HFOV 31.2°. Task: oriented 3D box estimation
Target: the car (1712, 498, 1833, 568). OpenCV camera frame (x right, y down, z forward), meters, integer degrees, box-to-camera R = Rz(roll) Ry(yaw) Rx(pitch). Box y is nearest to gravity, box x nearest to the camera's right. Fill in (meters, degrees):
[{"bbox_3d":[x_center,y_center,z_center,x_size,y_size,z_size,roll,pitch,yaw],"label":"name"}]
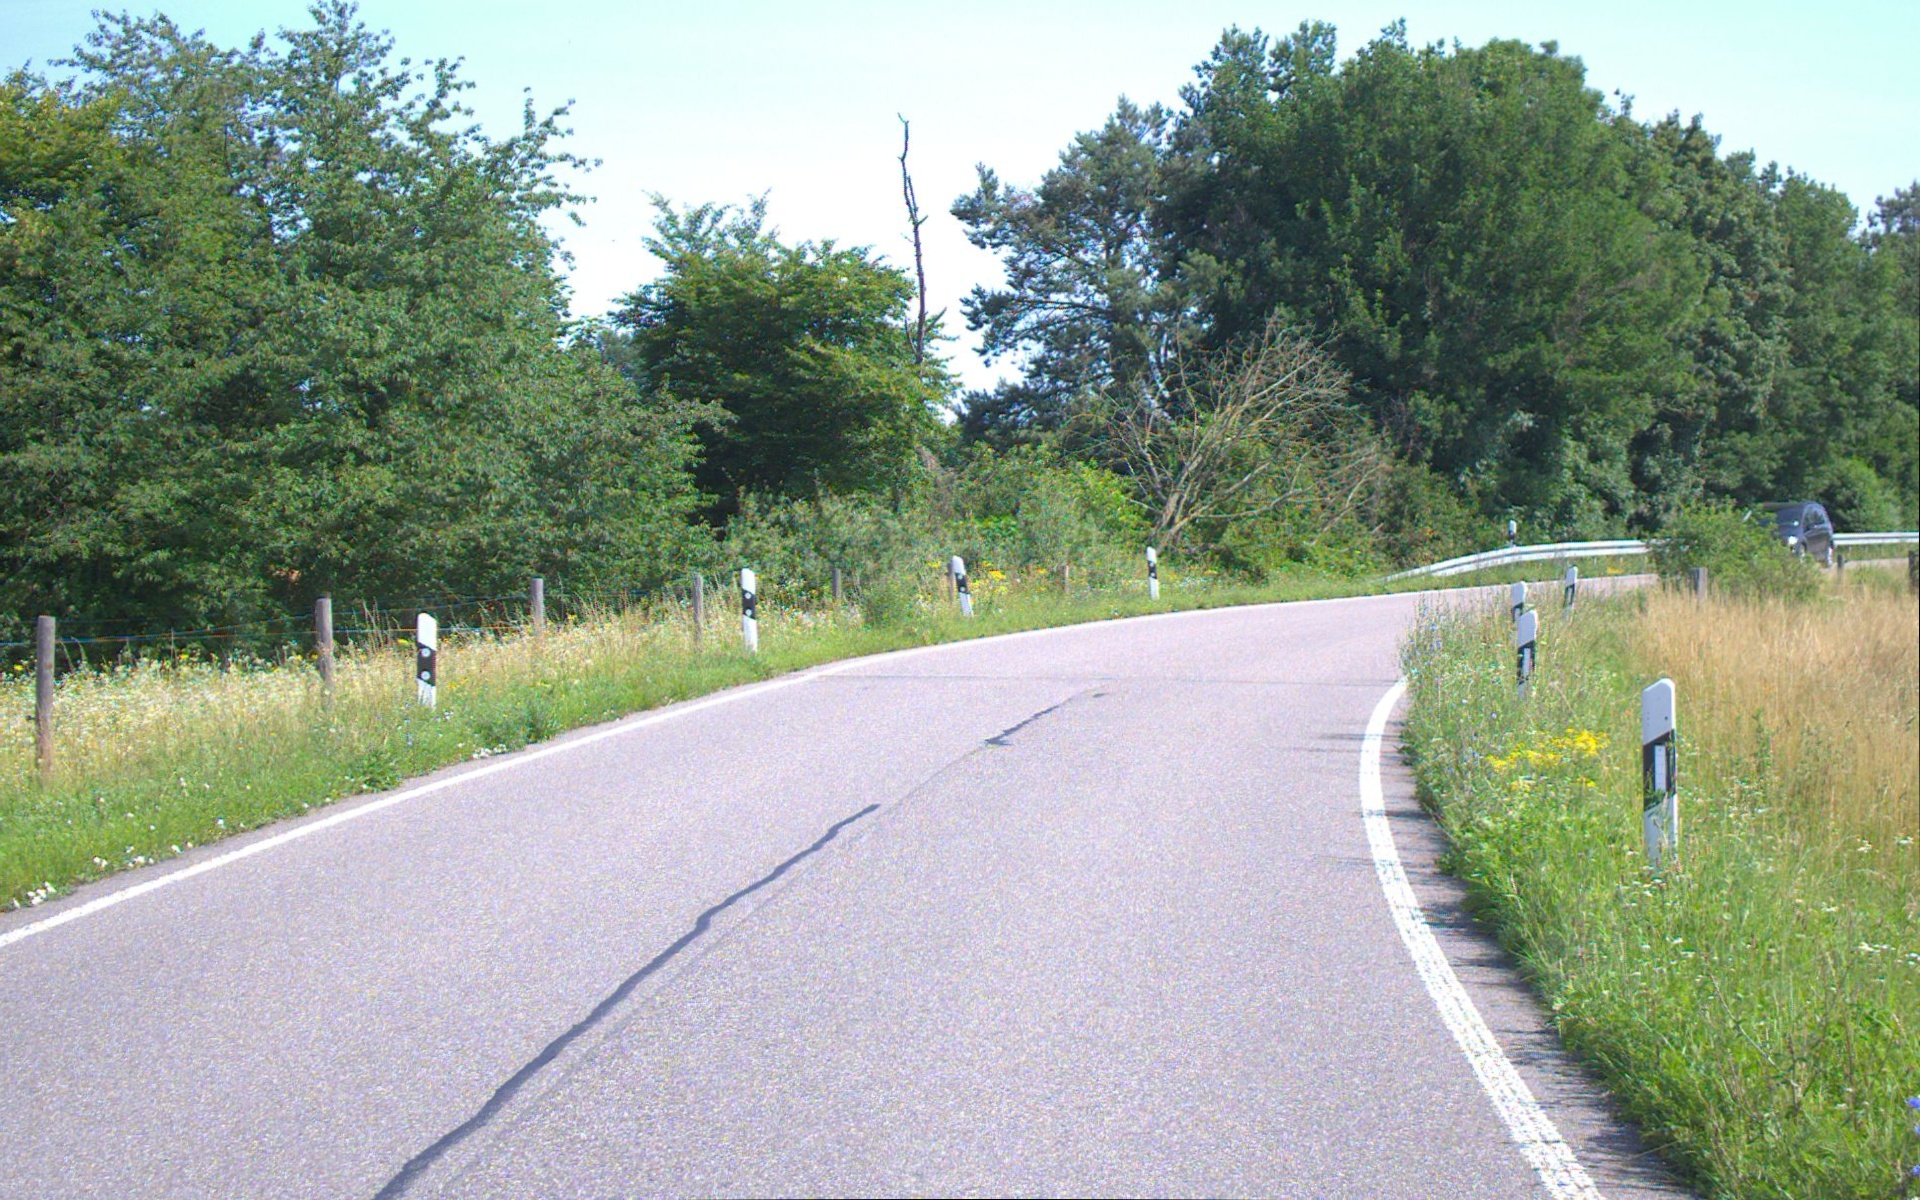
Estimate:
[{"bbox_3d":[19.757,-1.610,83.480,1.787,1.626,4.154,1,1,29],"label":"car"}]
